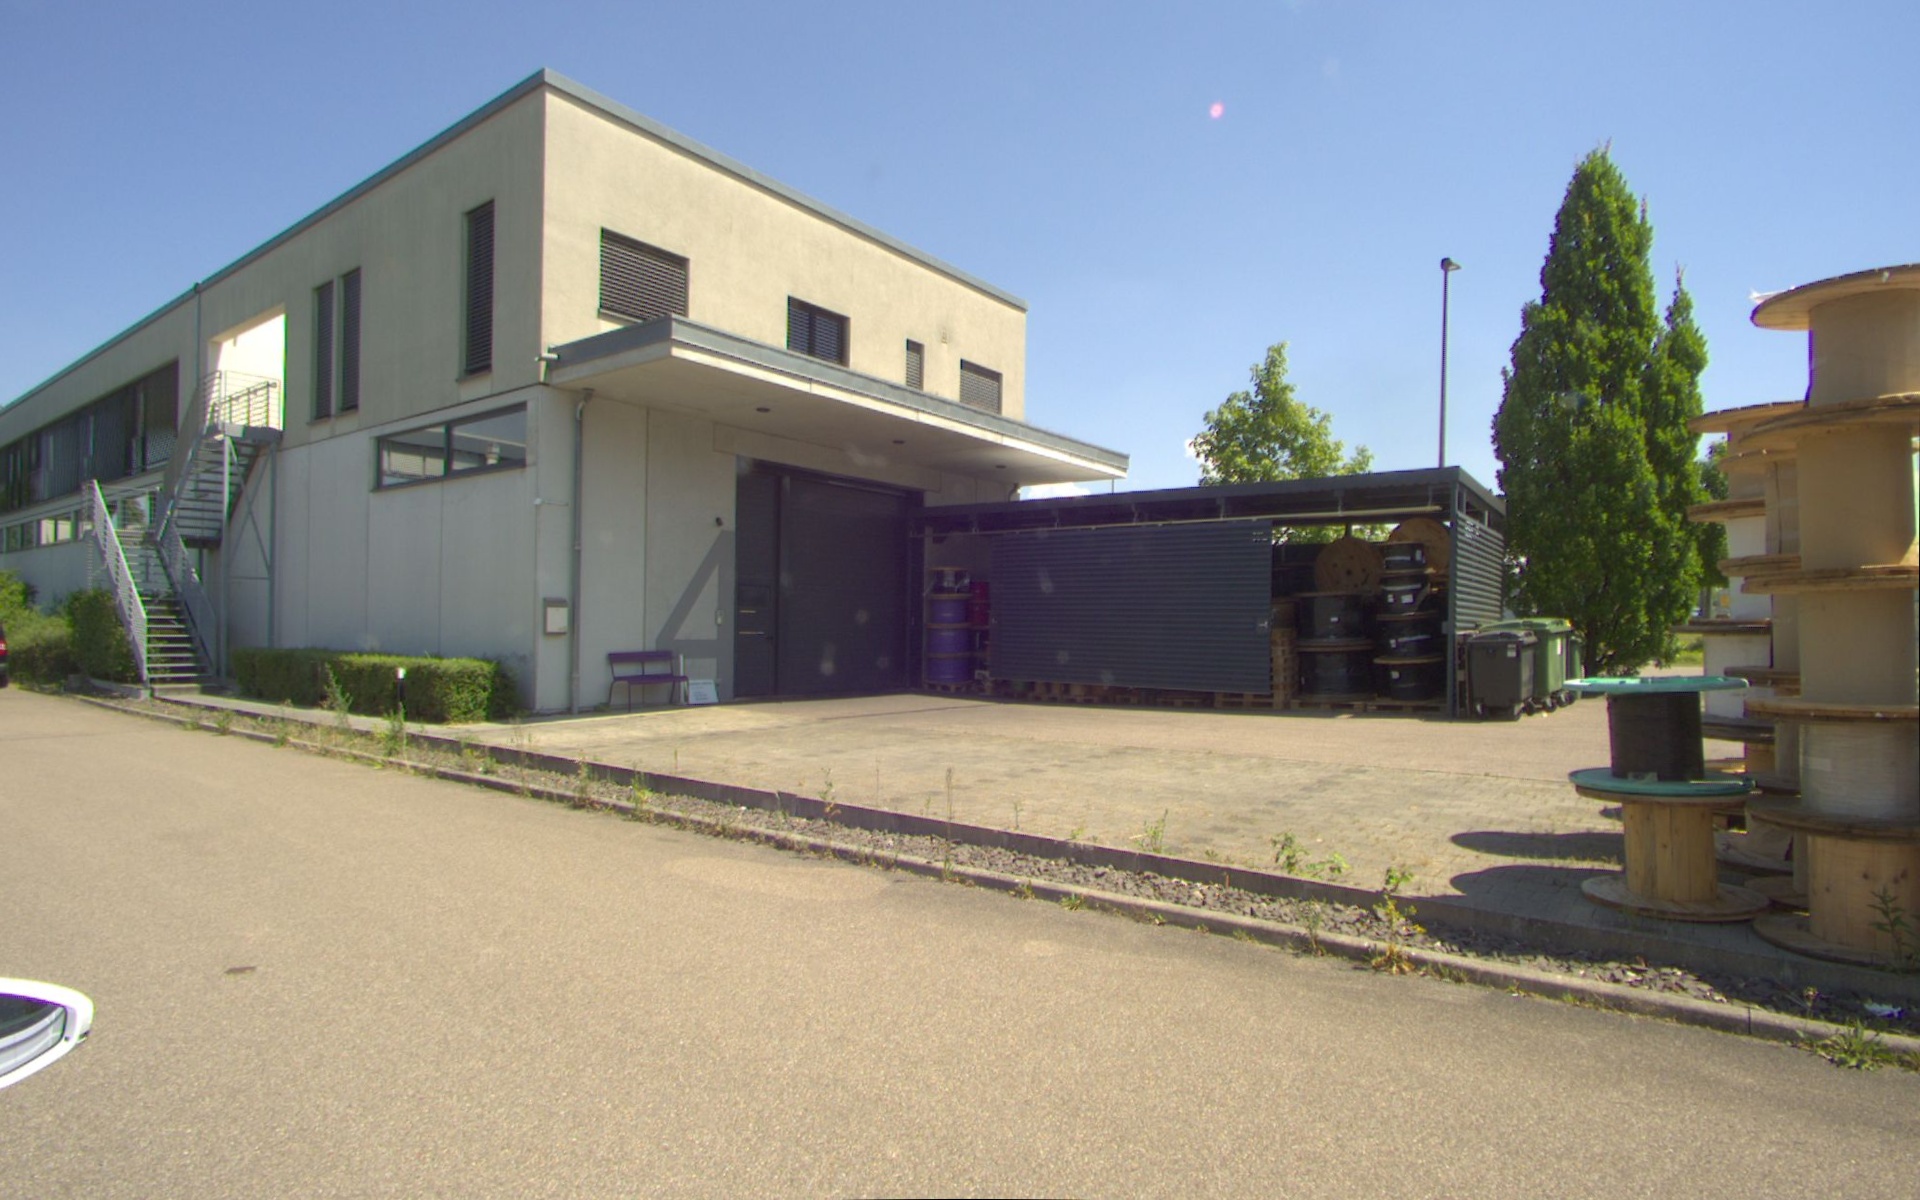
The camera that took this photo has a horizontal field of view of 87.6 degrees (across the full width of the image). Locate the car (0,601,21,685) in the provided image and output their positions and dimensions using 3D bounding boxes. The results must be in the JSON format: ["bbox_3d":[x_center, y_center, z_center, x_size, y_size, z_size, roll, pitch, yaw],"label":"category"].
[{"bbox_3d":[-23.088,0.945,22.903,3.949,1.861,1.737,0,0,38],"label":"car"}]

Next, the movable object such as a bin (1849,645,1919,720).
[{"bbox_3d":[12.082,1.062,13.033,0.537,0.929,0.585,-1,-1,13],"label":"movable object such as a bin"}]

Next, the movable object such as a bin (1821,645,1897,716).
[{"bbox_3d":[12.235,1.086,13.647,0.537,0.929,0.585,-1,-1,13],"label":"movable object such as a bin"}]

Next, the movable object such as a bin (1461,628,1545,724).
[{"bbox_3d":[7.545,1.036,13.903,0.868,1.266,0.794,0,-1,-44],"label":"movable object such as a bin"}]

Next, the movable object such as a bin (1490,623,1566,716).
[{"bbox_3d":[8.413,1.005,14.833,0.749,1.314,0.794,0,-1,-44],"label":"movable object such as a bin"}]

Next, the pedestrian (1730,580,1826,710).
[{"bbox_3d":[11.741,0.631,14.389,0.756,1.792,0.807,0,0,-22],"label":"pedestrian"}]

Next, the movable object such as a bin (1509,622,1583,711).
[{"bbox_3d":[9.026,1.003,15.428,0.802,1.314,0.794,0,-1,-44],"label":"movable object such as a bin"}]
